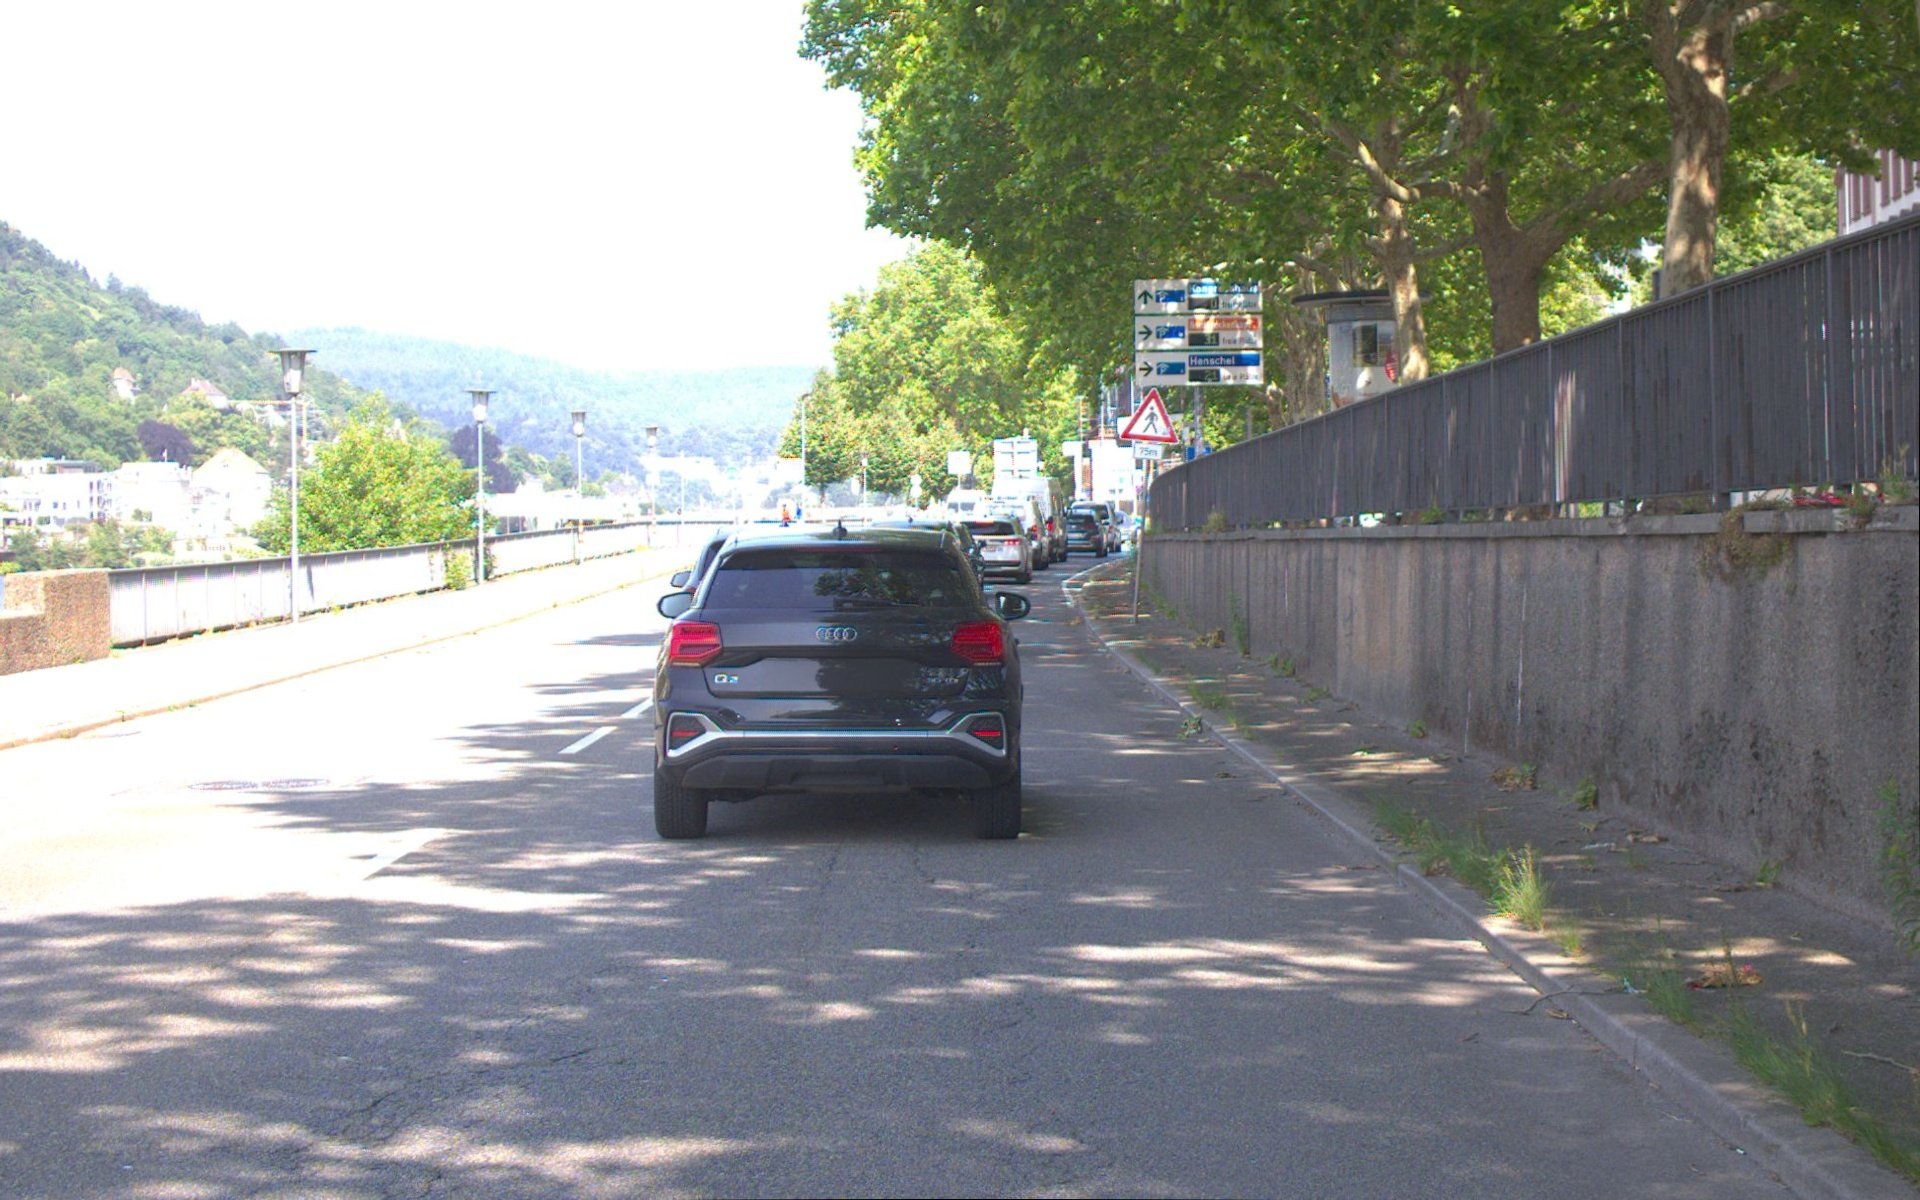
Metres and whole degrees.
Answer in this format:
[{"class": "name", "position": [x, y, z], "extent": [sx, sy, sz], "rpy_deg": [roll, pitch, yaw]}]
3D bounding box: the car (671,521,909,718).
[{"class": "car", "position": [-1.346, 0.103, 28.435], "extent": [1.828, 1.506, 4.000], "rpy_deg": [0, 1, -1]}]

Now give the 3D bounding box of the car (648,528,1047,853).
[{"class": "car", "position": [-0.556, 0.374, 17.831], "extent": [1.828, 1.481, 4.000], "rpy_deg": [0, 1, -1]}]

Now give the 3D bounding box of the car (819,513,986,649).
[{"class": "car", "position": [-0.667, -0.256, 39.628], "extent": [1.828, 1.481, 4.000], "rpy_deg": [0, 1, -1]}]

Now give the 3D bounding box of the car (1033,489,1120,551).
[{"class": "car", "position": [4.122, -2.865, 122.592], "extent": [2.661, 2.006, 5.825], "rpy_deg": [-3, 1, -1]}]

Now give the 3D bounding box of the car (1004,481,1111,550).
[{"class": "car", "position": [3.137, -2.757, 112.356], "extent": [3.098, 2.006, 5.825], "rpy_deg": [-3, 1, -1]}]

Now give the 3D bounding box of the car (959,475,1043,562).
[{"class": "car", "position": [1.075, -2.153, 91.333], "extent": [1.993, 2.162, 4.000], "rpy_deg": [-3, 1, -1]}]

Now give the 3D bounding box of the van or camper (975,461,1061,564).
[{"class": "van or camper", "position": [1.691, -2.550, 100.605], "extent": [2.310, 2.837, 4.246], "rpy_deg": [-3, 1, 1]}]

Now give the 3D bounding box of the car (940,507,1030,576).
[{"class": "car", "position": [0.513, -1.277, 74.486], "extent": [1.828, 1.439, 4.000], "rpy_deg": [0, 1, -1]}]
